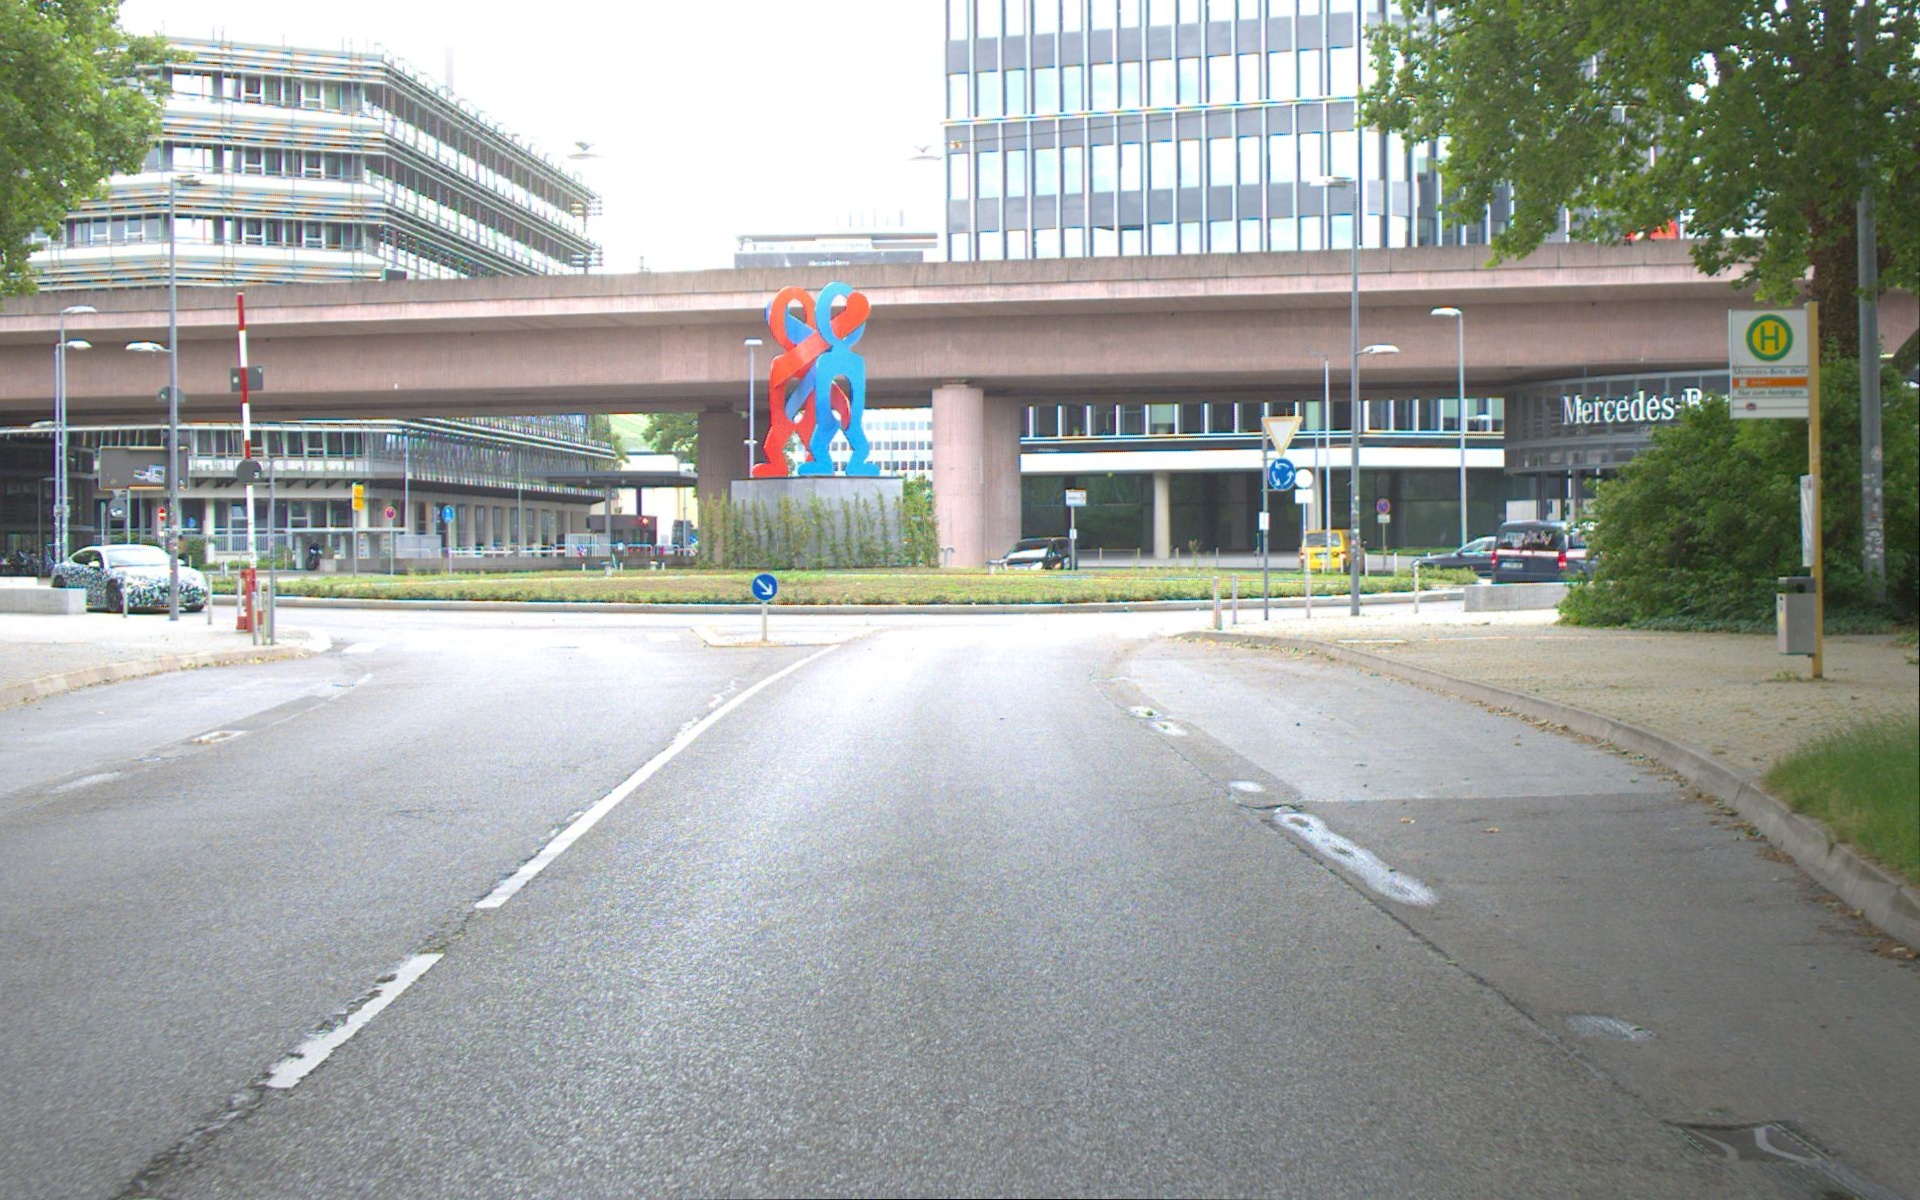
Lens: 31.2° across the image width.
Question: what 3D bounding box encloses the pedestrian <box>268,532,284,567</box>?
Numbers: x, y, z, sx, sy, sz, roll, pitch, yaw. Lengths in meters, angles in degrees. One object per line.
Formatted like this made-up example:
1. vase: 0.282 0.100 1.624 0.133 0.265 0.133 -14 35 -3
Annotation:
1. pedestrian: -39.672 -2.950 199.486 0.776 2.007 0.671 1 0 0

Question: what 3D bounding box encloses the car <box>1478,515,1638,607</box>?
1. car: 13.641 -0.889 78.160 2.279 2.007 4.776 1 1 27

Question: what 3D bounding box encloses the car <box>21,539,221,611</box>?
1. car: -18.002 -0.535 73.652 4.811 1.448 1.902 0 2 45

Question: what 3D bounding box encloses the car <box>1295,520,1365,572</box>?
1. car: 14.499 -2.095 134.591 1.995 2.007 3.997 1 1 17

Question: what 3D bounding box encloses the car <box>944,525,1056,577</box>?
1. car: 1.396 -1.686 119.159 1.997 1.766 3.992 1 1 34

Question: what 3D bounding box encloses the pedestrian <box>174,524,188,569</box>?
1. pedestrian: -35.293 -2.431 155.753 0.588 2.007 0.599 0 1 -12
